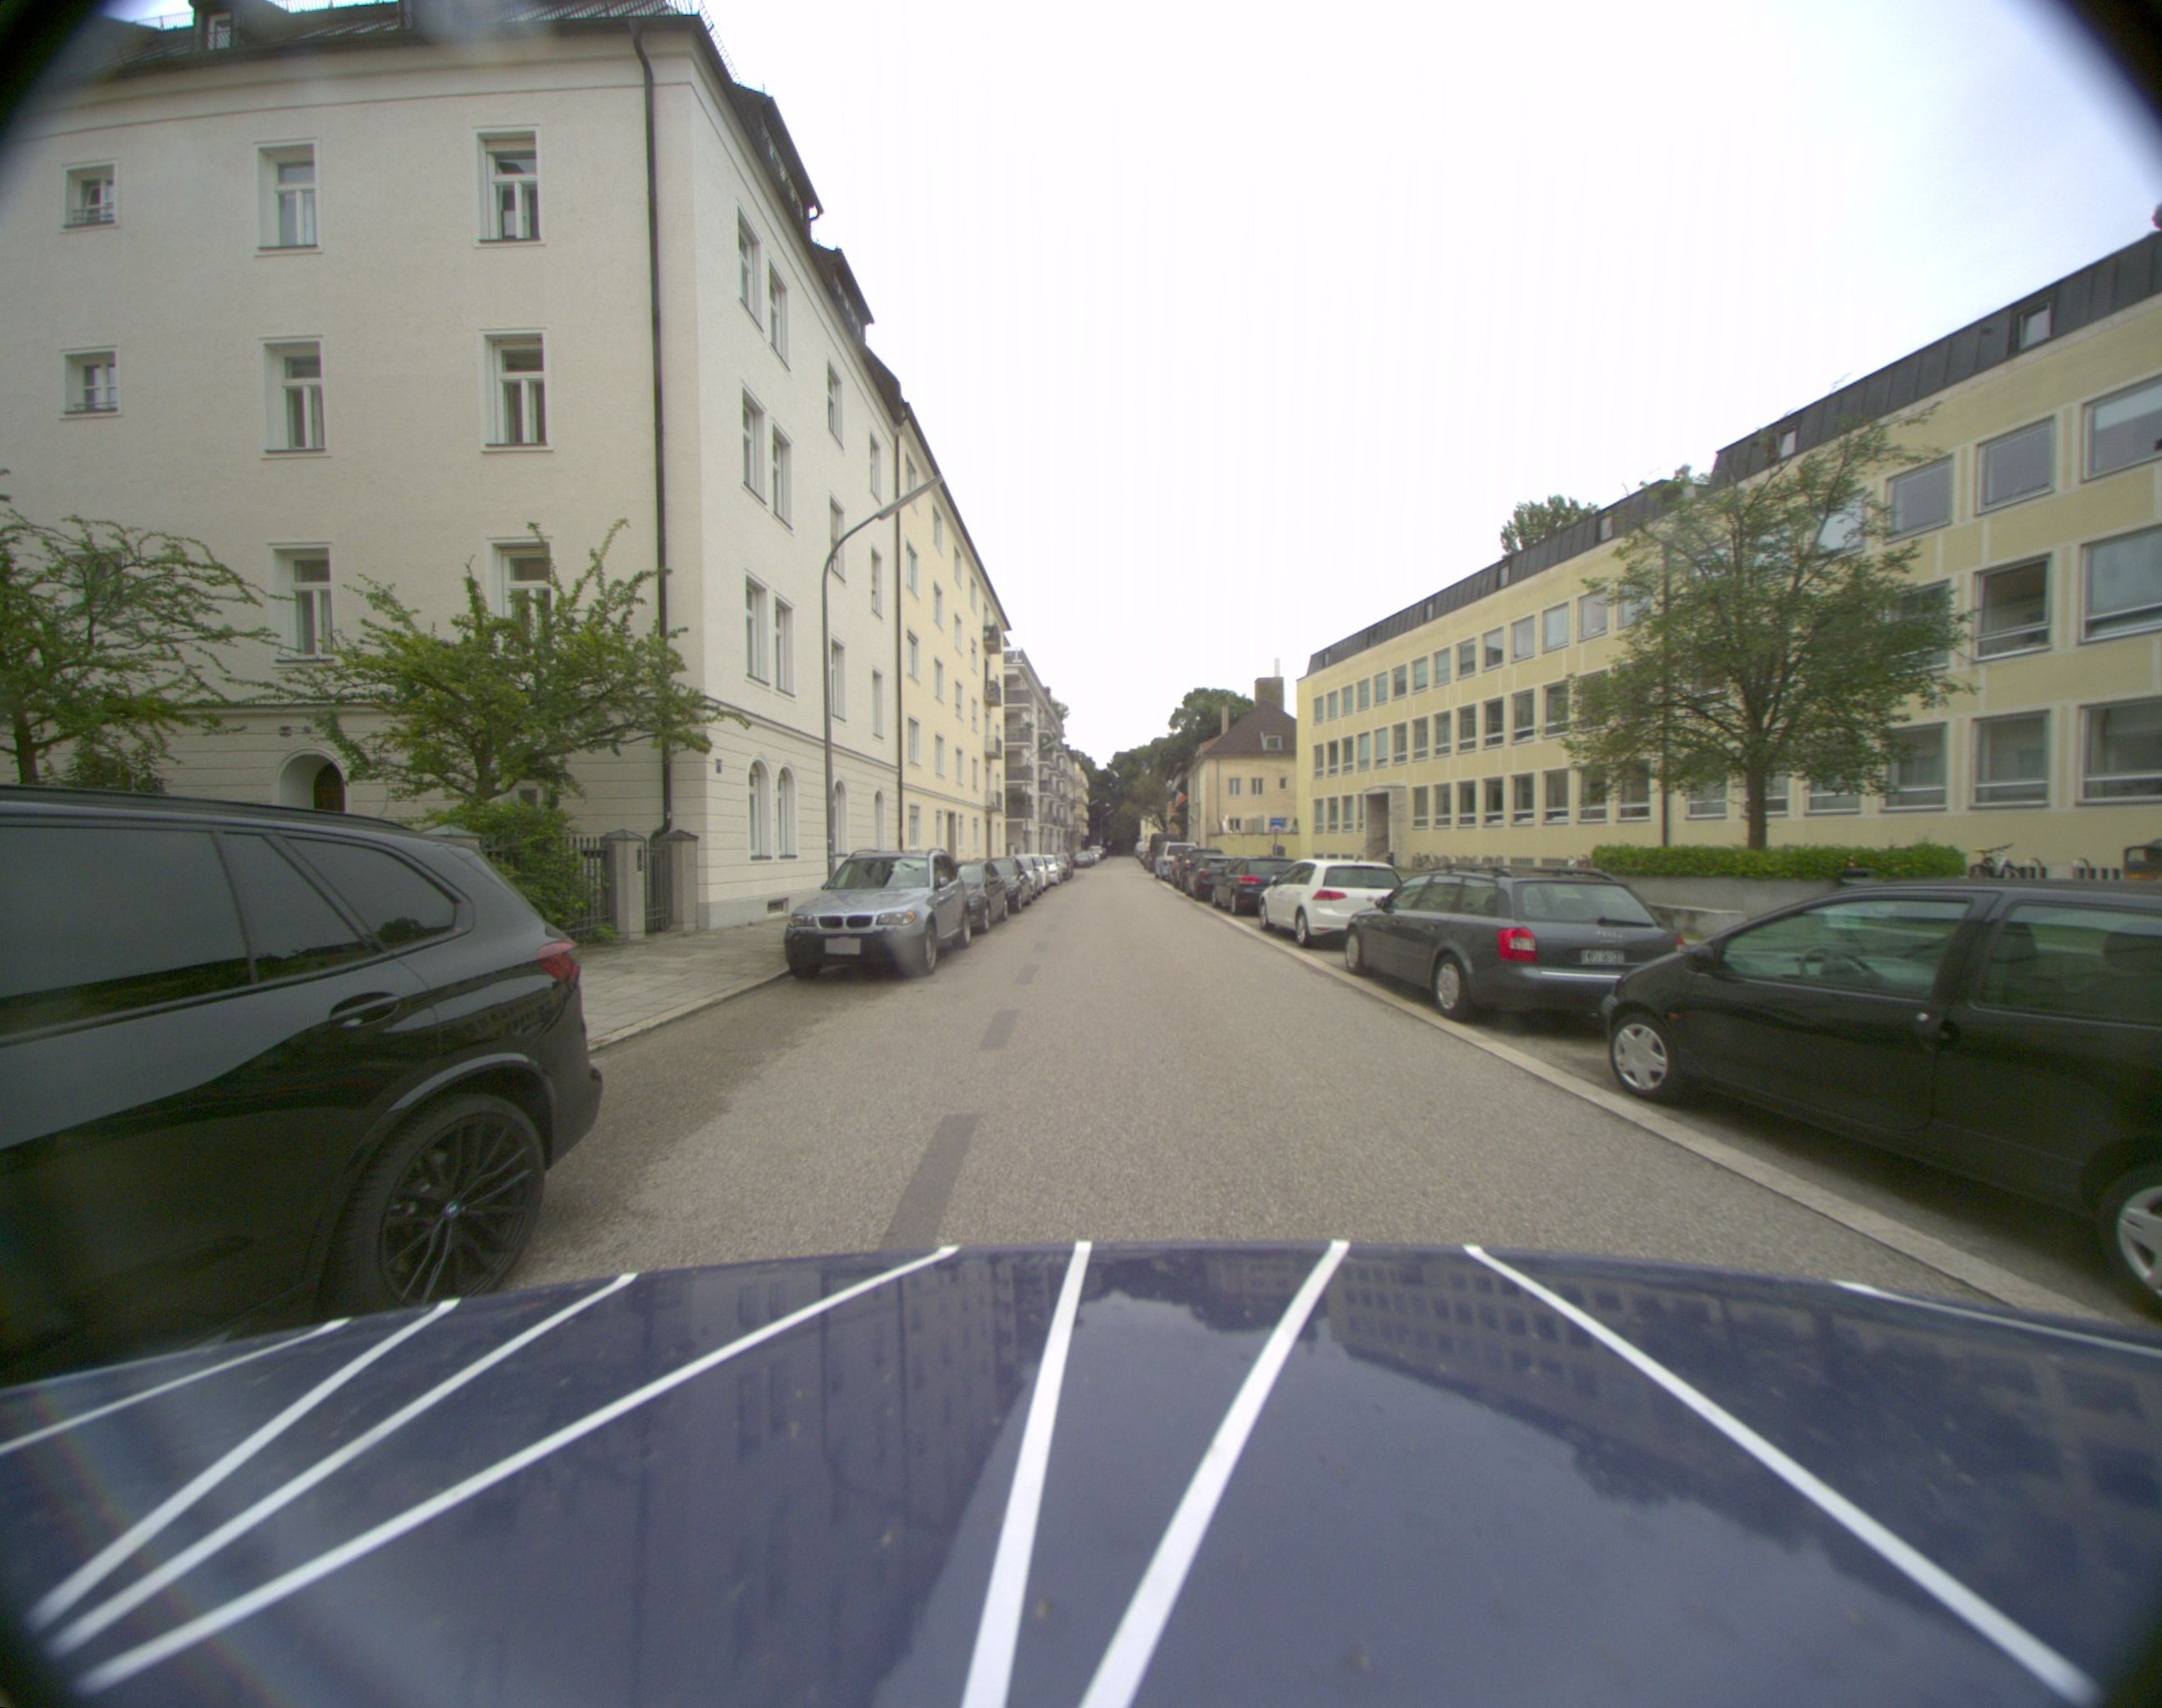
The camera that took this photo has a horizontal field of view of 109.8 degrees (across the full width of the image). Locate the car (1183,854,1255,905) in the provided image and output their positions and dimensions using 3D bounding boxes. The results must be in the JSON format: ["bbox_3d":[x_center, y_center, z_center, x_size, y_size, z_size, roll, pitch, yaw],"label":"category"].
[{"bbox_3d":[4.371,0.748,24.584,1.684,1.445,3.870,1,1,2],"label":"car"}]

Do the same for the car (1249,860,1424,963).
[{"bbox_3d":[4.297,0.891,13.485,1.661,1.445,4.072,1,1,-1],"label":"car"}]

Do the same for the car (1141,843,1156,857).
[{"bbox_3d":[8.609,-0.537,97.044,1.817,1.724,3.650,-1,1,3],"label":"car"}]

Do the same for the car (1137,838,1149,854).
[{"bbox_3d":[10.169,-1.269,123.776,1.880,2.539,4.370,-1,1,5],"label":"car"}]

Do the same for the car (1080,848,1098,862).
[{"bbox_3d":[0.852,0.082,79.921,1.766,1.449,3.747,-1,1,2],"label":"car"}]

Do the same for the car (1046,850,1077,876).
[{"bbox_3d":[-1.189,0.503,47.109,1.683,1.489,3.823,-1,1,2],"label":"car"}]

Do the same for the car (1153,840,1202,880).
[{"bbox_3d":[5.004,0.260,39.968,1.933,1.968,5.021,0,1,0],"label":"car"}]

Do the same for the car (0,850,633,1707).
[{"bbox_3d":[-3.125,0.906,1.052,1.873,1.707,4.865,-2,1,3],"label":"car"}]

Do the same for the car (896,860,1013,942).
[{"bbox_3d":[-2.557,0.899,16.313,1.683,1.419,4.087,-1,1,2],"label":"car"}]

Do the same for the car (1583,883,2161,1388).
[{"bbox_3d":[4.212,0.952,3.421,1.661,1.445,3.311,1,1,-1],"label":"car"}]

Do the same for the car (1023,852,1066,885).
[{"bbox_3d":[-1.704,0.647,36.487,1.683,1.402,4.442,-1,1,2],"label":"car"}]

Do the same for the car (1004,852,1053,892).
[{"bbox_3d":[-2.126,0.693,31.674,1.683,1.473,4.166,-1,1,1],"label":"car"}]

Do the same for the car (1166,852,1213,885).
[{"bbox_3d":[4.982,0.638,35.227,1.748,1.379,3.918,-1,1,2],"label":"car"}]

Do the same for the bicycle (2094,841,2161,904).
[{"bbox_3d":[22.466,0.355,15.661,2.444,1.241,1.055,-1,1,-14],"label":"bicycle"}]

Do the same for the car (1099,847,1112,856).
[{"bbox_3d":[4.014,-0.447,122.722,1.871,1.455,4.268,-1,1,4],"label":"car"}]

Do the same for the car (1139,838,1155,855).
[{"bbox_3d":[9.301,-1.085,107.326,2.104,2.418,4.550,-1,1,5],"label":"car"}]

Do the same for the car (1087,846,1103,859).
[{"bbox_3d":[1.716,-0.160,91.792,1.766,1.449,3.747,-1,1,2],"label":"car"}]

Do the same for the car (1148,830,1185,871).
[{"bbox_3d":[5.922,-0.260,53.008,2.302,2.630,5.654,1,1,4],"label":"car"}]

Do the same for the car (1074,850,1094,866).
[{"bbox_3d":[0.223,0.310,70.432,1.784,1.386,4.245,-1,1,0],"label":"car"}]

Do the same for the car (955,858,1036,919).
[{"bbox_3d":[-2.285,0.867,21.267,1.683,1.419,4.390,-1,1,1],"label":"car"}]

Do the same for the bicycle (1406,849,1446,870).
[{"bbox_3d":[17.808,0.272,39.252,1.954,1.008,0.580,-2,1,-15],"label":"bicycle"}]

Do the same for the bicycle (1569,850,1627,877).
[{"bbox_3d":[20.167,0.368,29.644,1.953,1.008,0.625,-1,1,-8],"label":"bicycle"}]

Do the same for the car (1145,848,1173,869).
[{"bbox_3d":[5.938,0.335,58.142,1.706,1.485,3.488,-1,1,-2],"label":"car"}]

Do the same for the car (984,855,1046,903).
[{"bbox_3d":[-2.204,0.799,26.230,1.683,1.419,4.166,-1,1,1],"label":"car"}]

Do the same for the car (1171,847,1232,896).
[{"bbox_3d":[4.630,0.613,29.775,1.748,1.656,4.448,3,1,2],"label":"car"}]

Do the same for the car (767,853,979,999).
[{"bbox_3d":[-2.737,0.850,11.139,1.726,1.625,4.457,-1,1,2],"label":"car"}]

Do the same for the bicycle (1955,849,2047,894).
[{"bbox_3d":[22.115,0.407,18.266,1.954,1.008,0.624,-1,1,-14],"label":"bicycle"}]

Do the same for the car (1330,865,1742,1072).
[{"bbox_3d":[4.201,0.908,8.023,1.759,1.445,4.396,1,1,1],"label":"car"}]

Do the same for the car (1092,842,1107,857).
[{"bbox_3d":[2.579,-0.686,106.988,1.871,2.002,4.268,-1,1,4],"label":"car"}]

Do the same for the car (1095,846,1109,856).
[{"bbox_3d":[3.092,-0.458,112.609,1.871,1.455,4.268,-1,1,4],"label":"car"}]

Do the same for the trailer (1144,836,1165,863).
[{"bbox_3d":[7.217,-0.424,74.625,1.816,2.521,3.390,3,2,8],"label":"trailer"}]

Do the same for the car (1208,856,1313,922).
[{"bbox_3d":[4.434,0.805,19.323,1.661,1.445,3.973,1,1,-1],"label":"car"}]

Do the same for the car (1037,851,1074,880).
[{"bbox_3d":[-1.349,0.601,41.707,1.683,1.402,4.421,-1,1,2],"label":"car"}]
